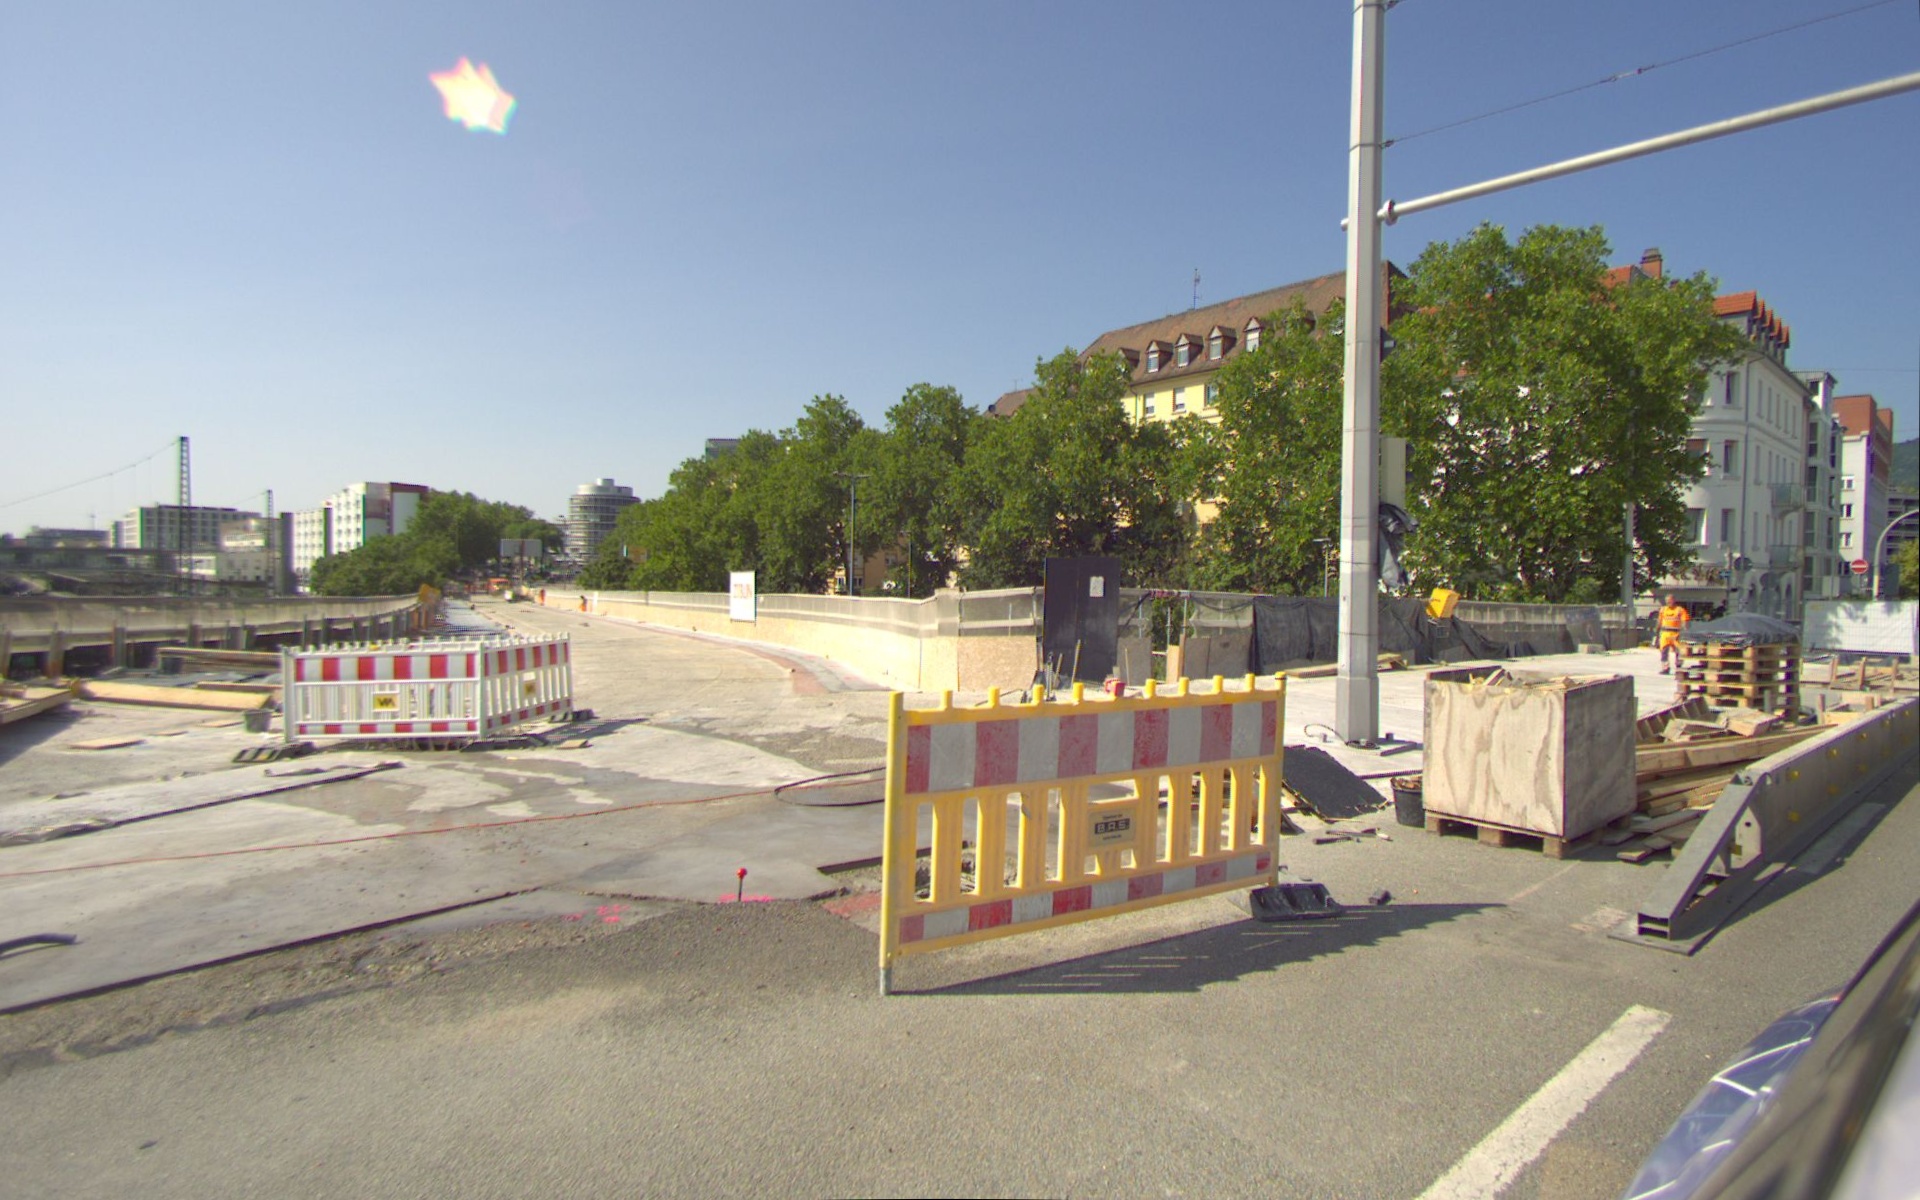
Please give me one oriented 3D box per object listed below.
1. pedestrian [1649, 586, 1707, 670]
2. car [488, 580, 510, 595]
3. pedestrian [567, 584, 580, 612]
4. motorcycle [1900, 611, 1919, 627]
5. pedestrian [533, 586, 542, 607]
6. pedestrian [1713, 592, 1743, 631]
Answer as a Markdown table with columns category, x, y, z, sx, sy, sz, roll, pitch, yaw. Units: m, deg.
| category | x | y | z | sx | sy | sz | roll | pitch | yaw |
| --- | --- | --- | --- | --- | --- | --- | --- | --- | --- |
| pedestrian | 16.122 | 0.608 | 22.728 | 0.849 | 1.817 | 0.821 | 1 | 2 | -42 |
| car | -63.252 | -1.705 | 138.866 | 1.898 | 1.953 | 4.224 | 1 | 2 | -35 |
| pedestrian | -29.296 | -0.145 | 76.703 | 0.909 | 2.038 | 0.768 | 2 | 1 | -22 |
| motorcycle | 73.224 | 1.442 | 77.157 | 0.730 | 1.180 | 2.177 | 1 | 1 | -39 |
| pedestrian | -40.908 | -0.325 | 97.953 | 0.750 | 2.038 | 0.930 | 2 | 1 | -24 |
| pedestrian | 34.951 | 0.528 | 46.051 | 1.000 | 1.728 | 0.810 | 1 | 1 | 42 |
